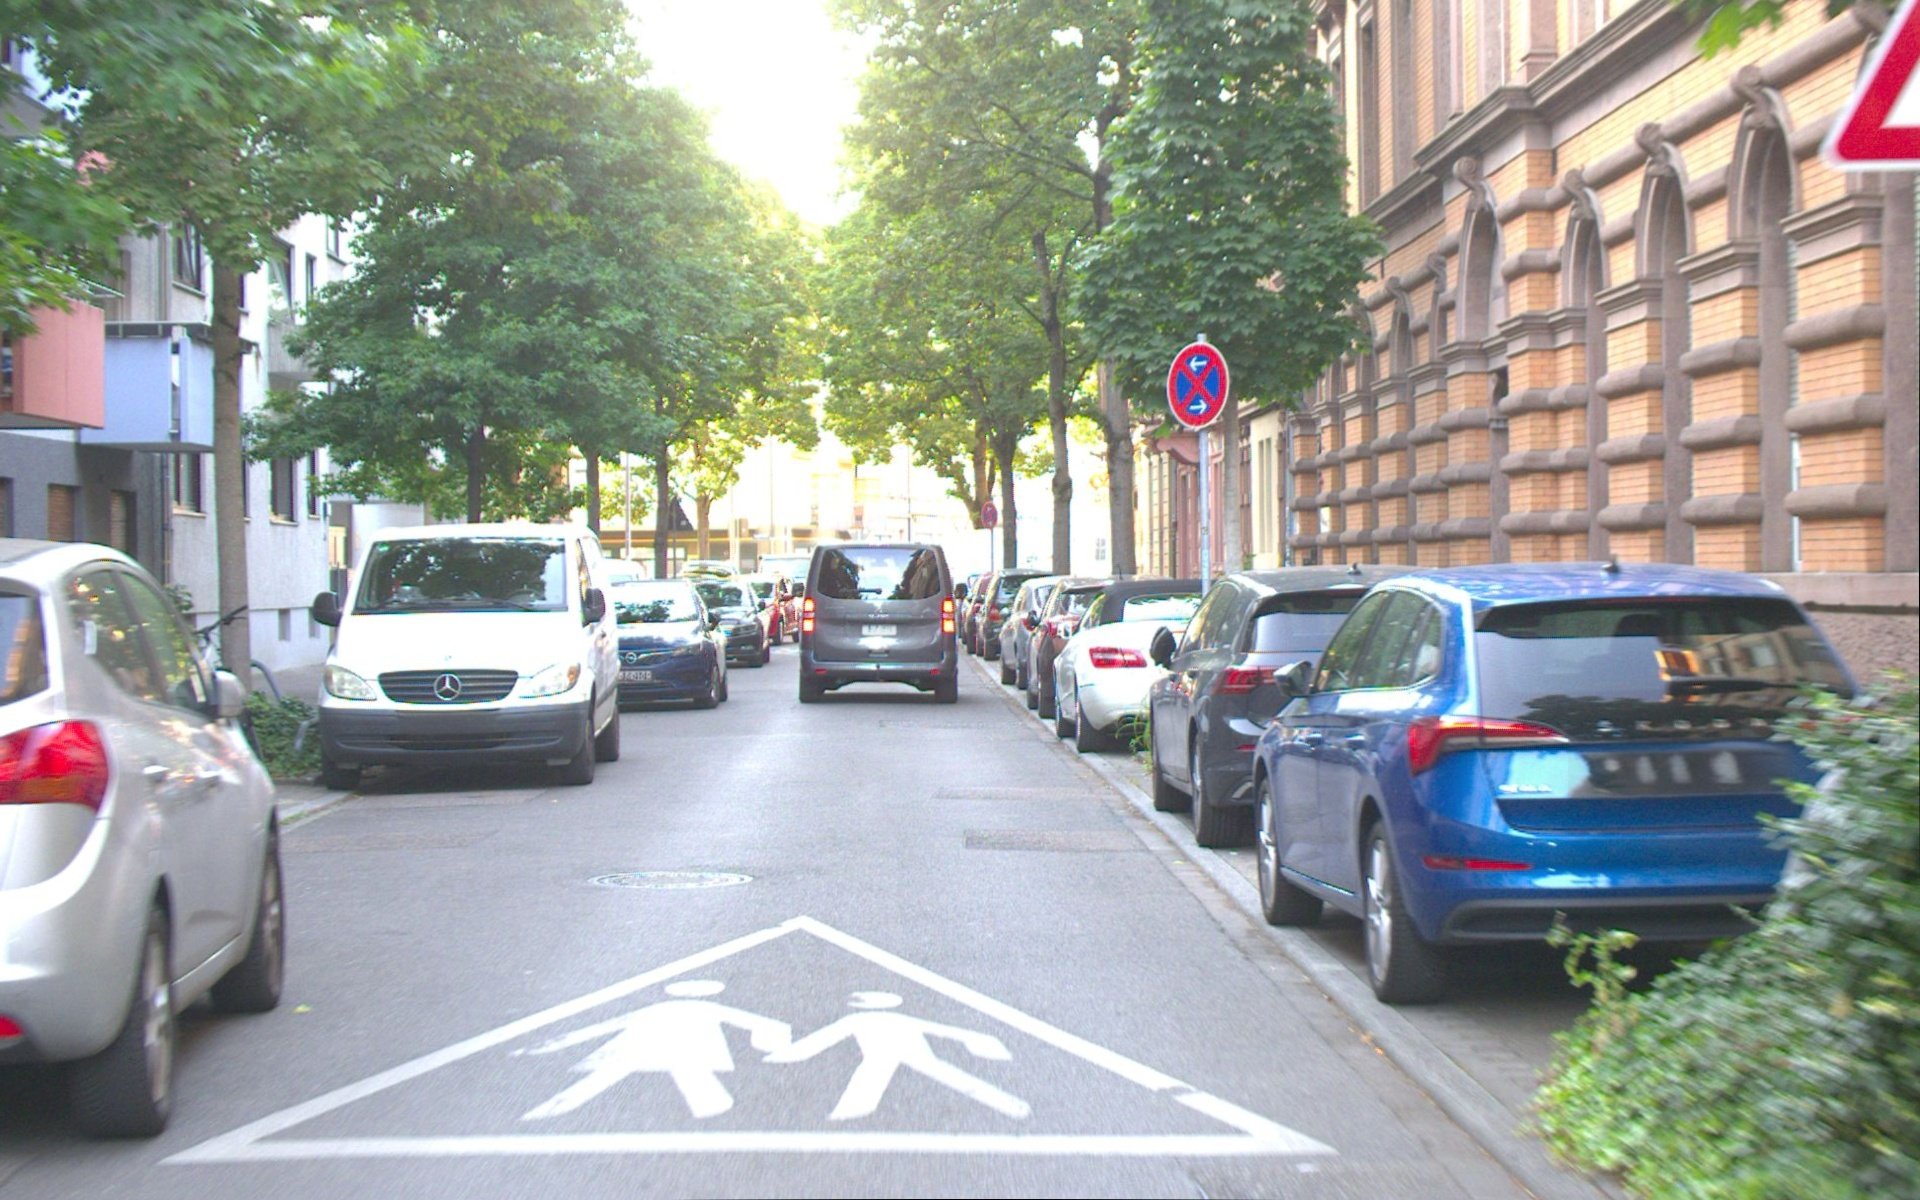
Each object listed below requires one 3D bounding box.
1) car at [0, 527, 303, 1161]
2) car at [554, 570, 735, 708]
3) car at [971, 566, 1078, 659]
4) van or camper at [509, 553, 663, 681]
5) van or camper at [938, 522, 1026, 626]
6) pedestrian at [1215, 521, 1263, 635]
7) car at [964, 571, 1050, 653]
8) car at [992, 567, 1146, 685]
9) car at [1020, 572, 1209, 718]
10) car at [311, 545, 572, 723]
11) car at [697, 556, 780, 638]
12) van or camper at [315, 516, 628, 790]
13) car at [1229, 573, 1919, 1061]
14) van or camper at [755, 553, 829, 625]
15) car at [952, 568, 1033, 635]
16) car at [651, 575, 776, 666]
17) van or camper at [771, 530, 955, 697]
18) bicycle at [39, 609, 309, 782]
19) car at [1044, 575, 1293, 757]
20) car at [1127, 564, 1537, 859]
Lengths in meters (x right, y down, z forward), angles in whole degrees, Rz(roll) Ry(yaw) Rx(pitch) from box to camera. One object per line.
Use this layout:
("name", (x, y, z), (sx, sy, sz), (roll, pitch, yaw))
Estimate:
("car", (-3.066, 0.586, 10.407), (1.663, 1.558, 4.001), (0, 1, -4))
("car", (-3.611, 0.424, 39.968), (1.830, 1.512, 4.516), (0, 0, -2))
("car", (1.114, 0.195, 60.622), (1.611, 1.554, 3.766), (-1, 1, -3))
("van or camper", (-5.617, 0.220, 52.132), (1.931, 1.754, 4.466), (3, 1, -2))
("van or camper", (0.541, -0.661, 88.622), (1.993, 2.590, 5.425), (0, 0, -2))
("pedestrian", (4.057, -0.316, 50.063), (0.627, 1.643, 0.532), (1, 0, -1))
("car", (0.912, 0.215, 64.918), (1.551, 1.491, 3.610), (1, 0, 2))
("car", (1.435, 0.318, 46.616), (1.697, 1.478, 4.001), (-2, 1, -3))
("car", (1.593, 0.449, 36.712), (1.722, 1.445, 4.215), (-1, 0, -1))
("car", (-5.208, 0.304, 35.152), (1.993, 1.641, 4.922), (2, 0, -1))
("car", (-4.610, -0.088, 72.007), (1.630, 1.425, 3.544), (-1, 4, -2))
("van or camper", (-3.539, 0.328, 25.664), (1.876, 1.836, 4.753), (0, 1, -3))
("car", (2.078, 0.640, 12.580), (1.627, 1.461, 4.246), (0, 1, -3))
("van or camper", (-4.755, -0.333, 97.548), (1.862, 1.976, 4.271), (-1, 0, 0))
("car", (0.714, 0.030, 77.645), (1.750, 1.466, 3.776), (0, 0, -1))
("car", (-4.124, 0.319, 58.072), (1.846, 1.446, 4.503), (1, 0, -1))
("van or camper", (-1.118, 0.139, 41.492), (2.035, 1.891, 4.271), (0, 0, 1))
("bicycle", (-5.611, 0.660, 24.631), (0.698, 1.160, 1.818), (0, 1, 41))
("car", (1.702, 0.501, 29.376), (1.693, 1.396, 4.646), (-1, 1, -2))
("car", (1.962, 0.538, 19.293), (1.711, 1.473, 4.193), (0, 1, -2))
